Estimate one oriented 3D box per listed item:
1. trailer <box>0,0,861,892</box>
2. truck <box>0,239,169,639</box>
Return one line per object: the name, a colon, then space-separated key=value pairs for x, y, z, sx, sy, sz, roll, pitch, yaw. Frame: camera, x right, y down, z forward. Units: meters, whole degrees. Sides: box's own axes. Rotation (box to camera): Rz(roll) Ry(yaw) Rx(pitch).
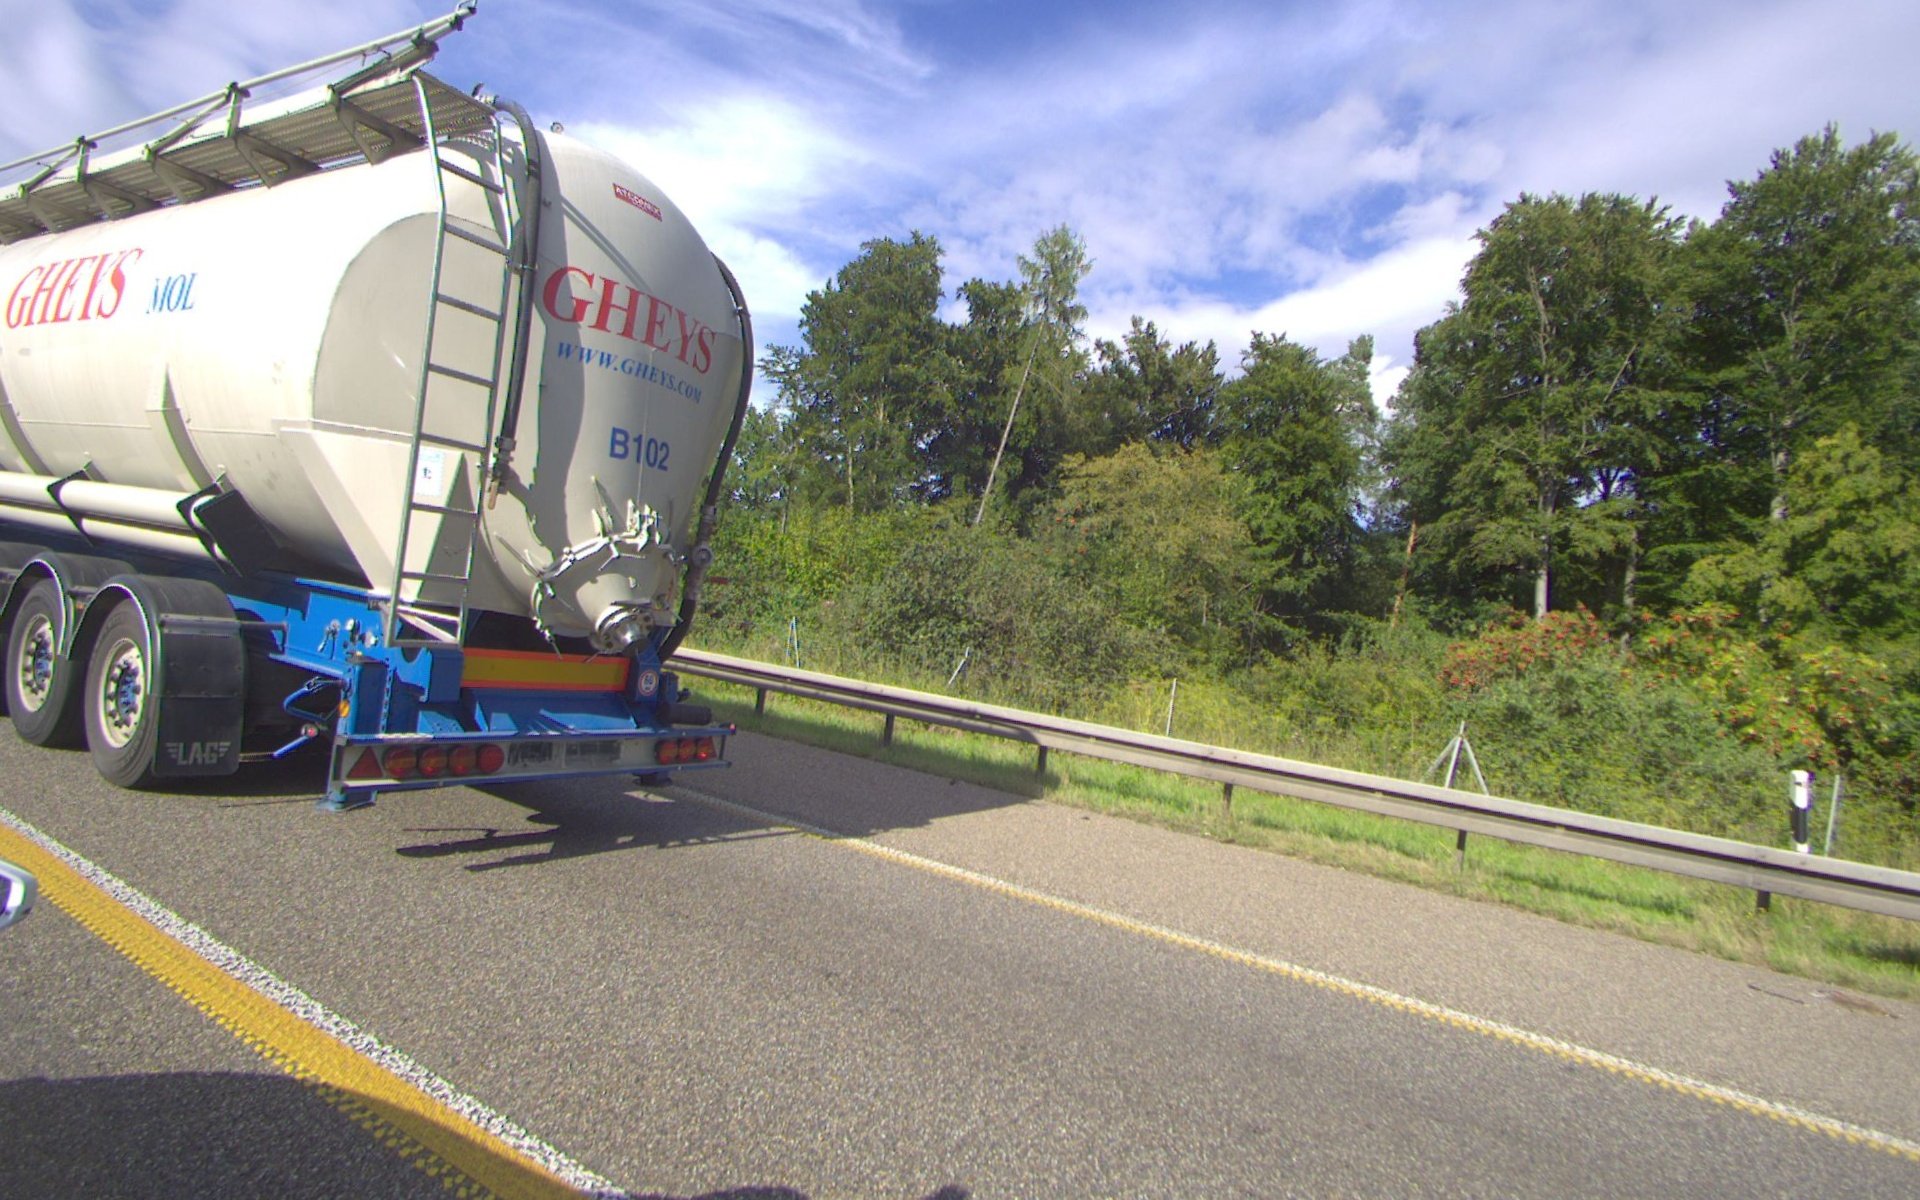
trailer: x=-6.760 y=-1.305 z=8.362 sx=12.389 sy=3.989 sz=2.649 roll=7 pitch=-1 yaw=32
truck: x=-12.412 y=-1.946 z=11.907 sx=5.683 sy=4.018 sz=2.664 roll=6 pitch=-1 yaw=32
